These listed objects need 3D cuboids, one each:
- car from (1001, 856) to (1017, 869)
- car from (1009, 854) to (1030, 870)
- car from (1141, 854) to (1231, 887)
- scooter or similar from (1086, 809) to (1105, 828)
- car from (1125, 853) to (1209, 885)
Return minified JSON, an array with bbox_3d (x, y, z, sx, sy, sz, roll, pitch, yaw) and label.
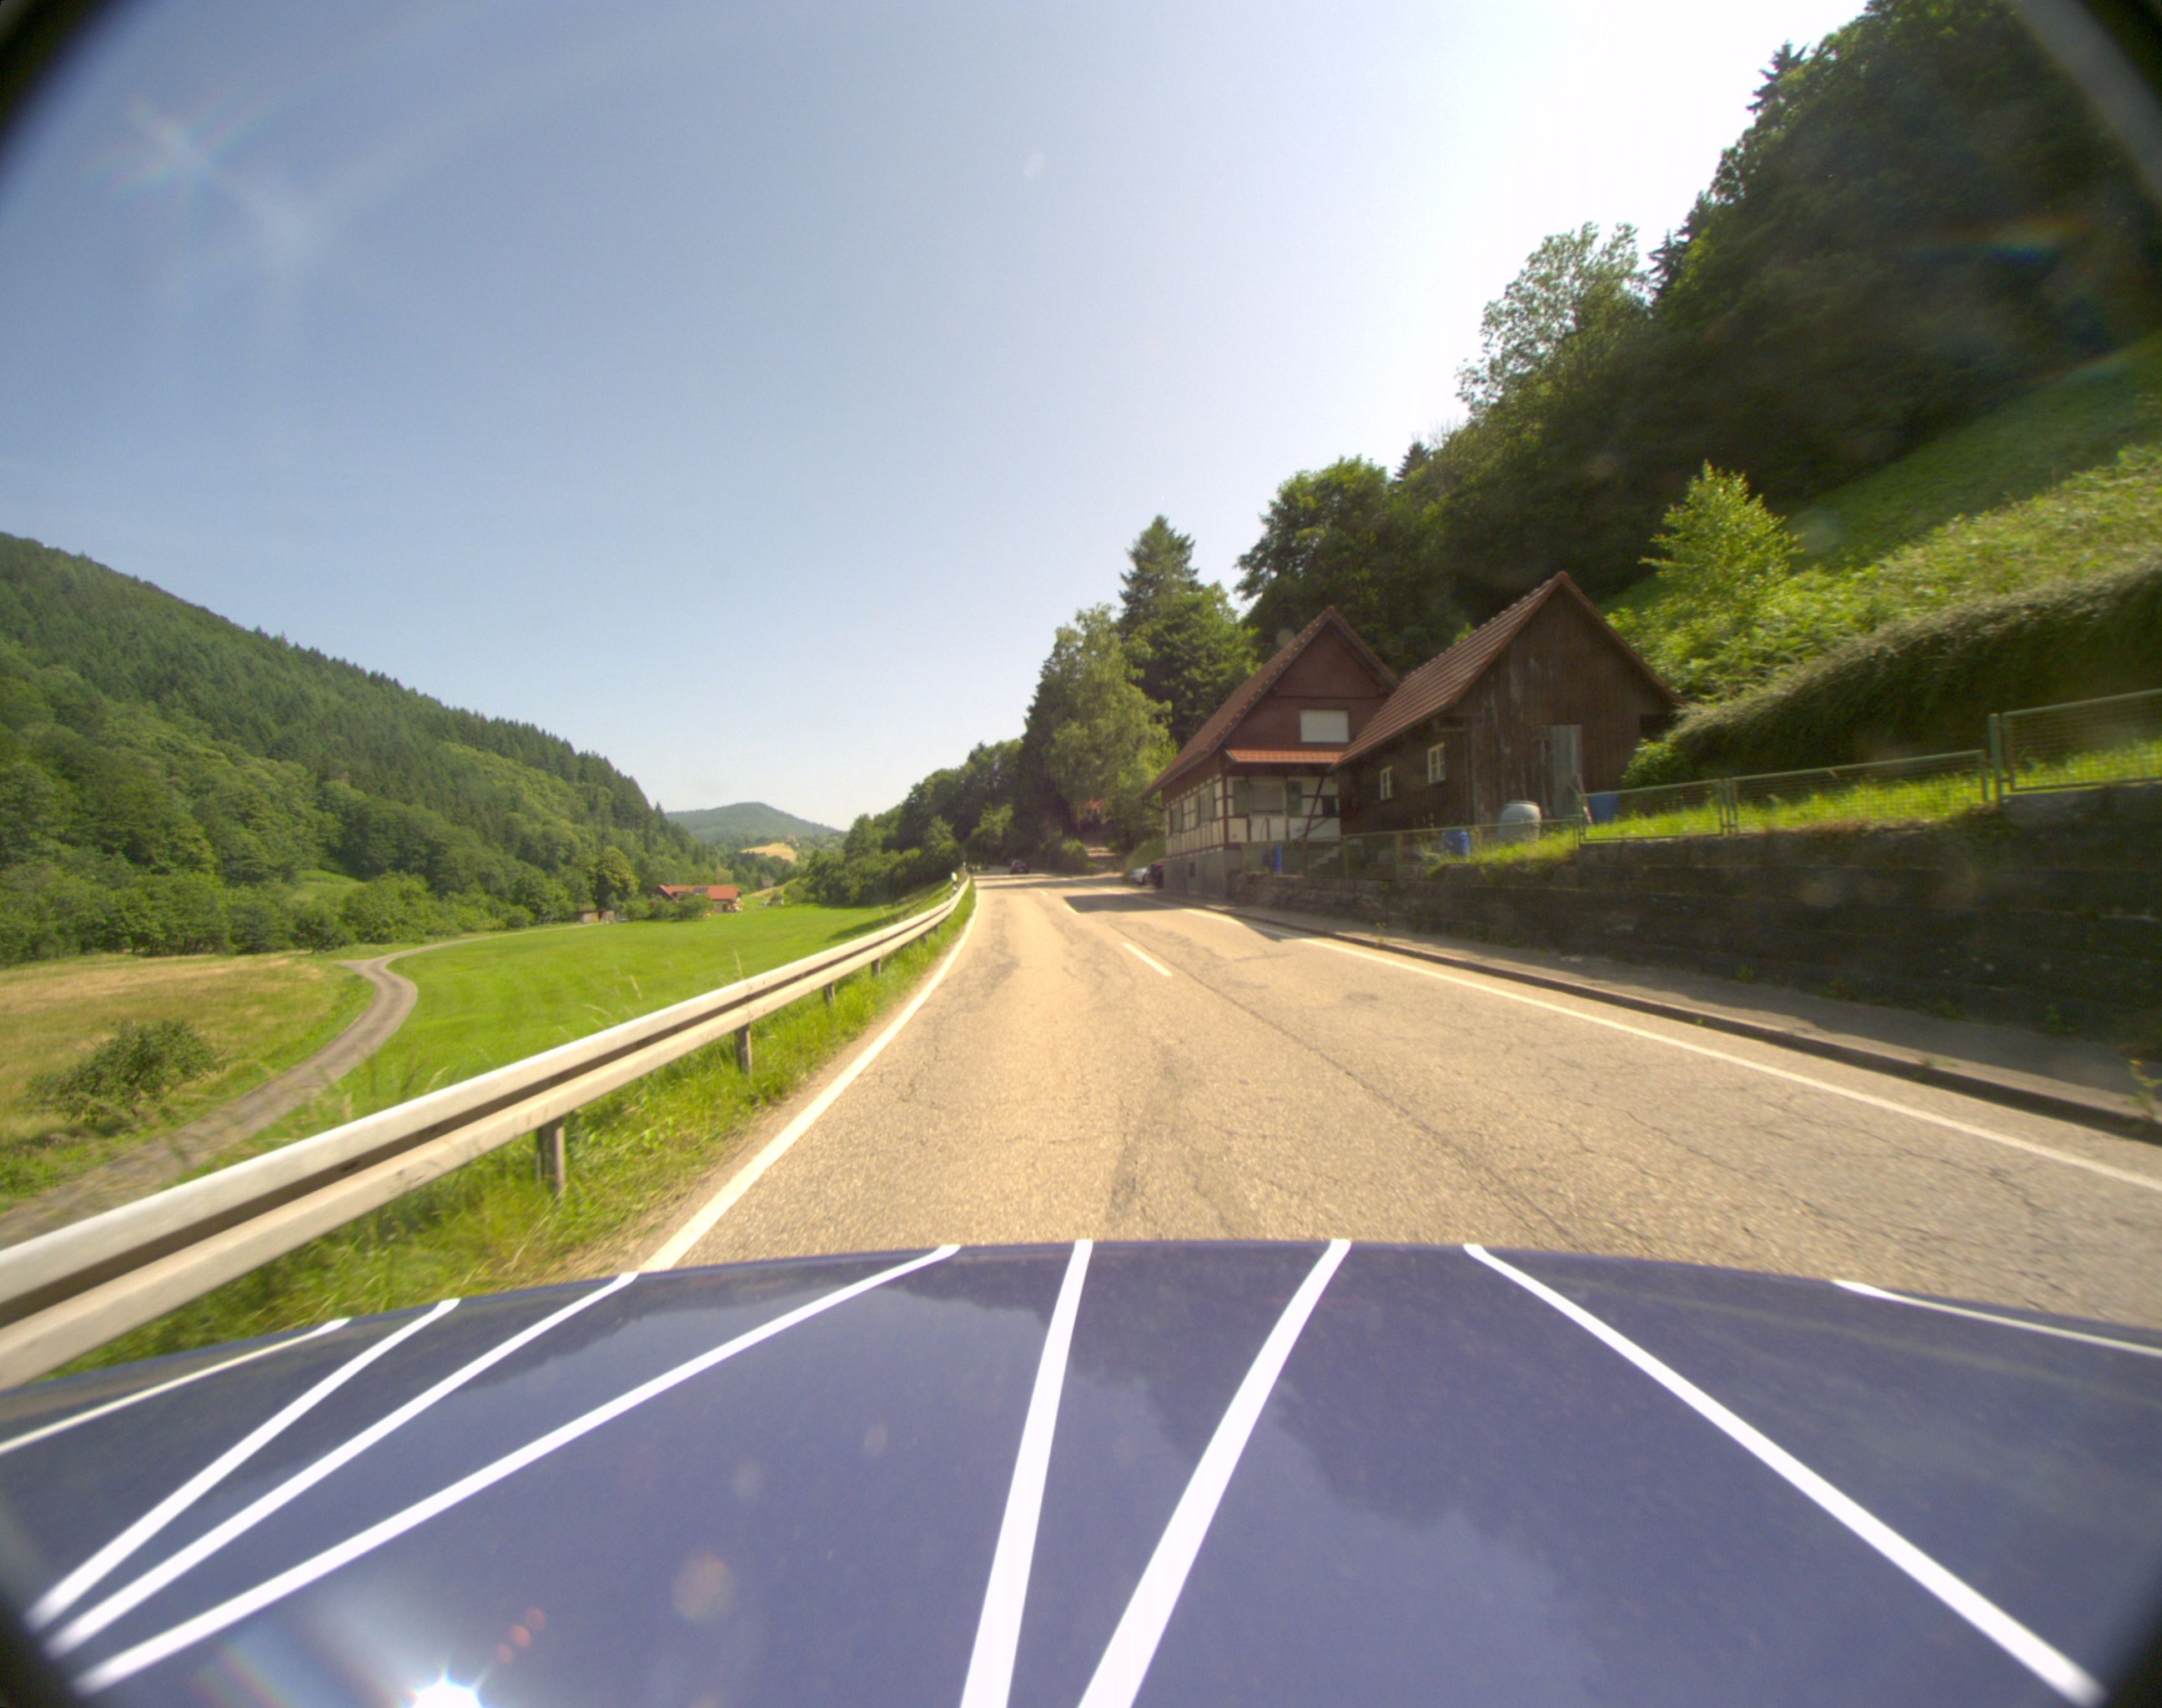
[{"bbox_3d":[-9.888,1.132,104.554,1.895,1.635,4.254,-3,1,-8],"label":"car"},{"bbox_3d":[-6.233,0.795,76.756,1.770,1.388,4.141,-3,1,-10],"label":"car"},{"bbox_3d":[4.939,0.764,36.032,3.829,1.425,1.862,-1,1,-10],"label":"car"},{"bbox_3d":[1.795,-4.465,96.129,1.983,2.015,4.403,-6,1,-3],"label":"scooter or similar"},{"bbox_3d":[4.329,0.748,38.598,3.829,1.409,1.855,-2,1,-10],"label":"car"}]
